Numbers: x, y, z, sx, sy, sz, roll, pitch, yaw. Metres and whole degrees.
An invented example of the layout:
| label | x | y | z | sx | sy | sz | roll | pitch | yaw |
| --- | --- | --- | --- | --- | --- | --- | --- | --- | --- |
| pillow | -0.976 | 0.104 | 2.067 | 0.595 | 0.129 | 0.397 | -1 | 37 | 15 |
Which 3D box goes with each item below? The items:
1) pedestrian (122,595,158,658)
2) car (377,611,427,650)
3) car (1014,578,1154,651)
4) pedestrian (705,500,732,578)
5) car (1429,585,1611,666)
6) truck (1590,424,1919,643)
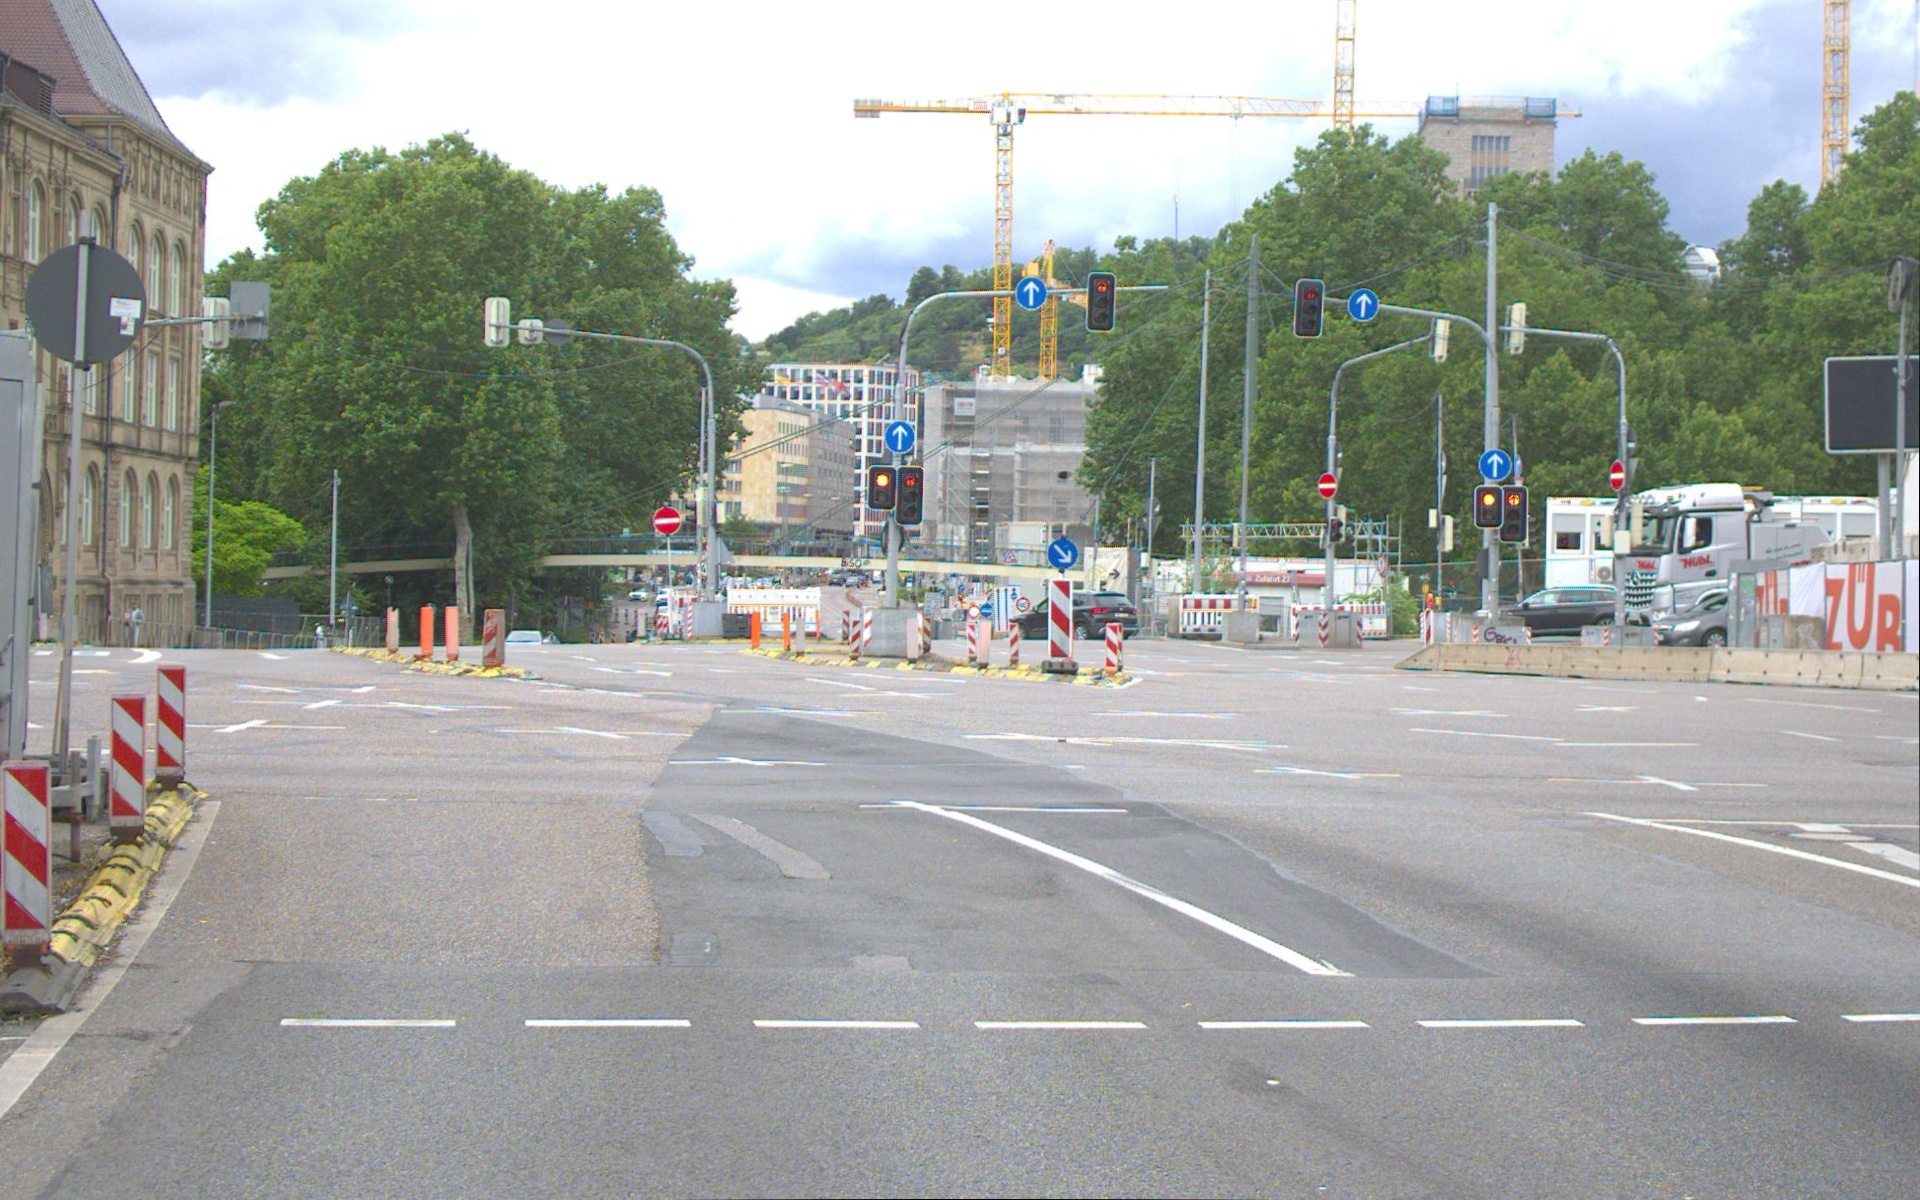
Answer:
| label | x | y | z | sx | sy | sz | roll | pitch | yaw |
| --- | --- | --- | --- | --- | --- | --- | --- | --- | --- |
| pedestrian | -26.628 | 0.855 | 111.698 | 0.950 | 2.007 | 0.766 | 1 | 0 | 2 |
| car | -27.808 | 1.511 | 171.437 | 1.993 | 1.831 | 4.001 | 1 | 1 | -3 |
| car | 3.514 | 0.403 | 97.932 | 1.994 | 2.007 | 4.000 | 0 | 1 | -34 |
| pedestrian | -5.664 | -1.431 | 80.662 | 0.585 | 1.834 | 0.604 | 1 | 0 | -4 |
| car | 14.562 | 0.650 | 89.385 | 4.269 | 2.007 | 1.998 | 1 | 1 | 23 |
| truck | 19.973 | -1.504 | 80.988 | 9.712 | 4.943 | 3.114 | 1 | 0 | -18 |
